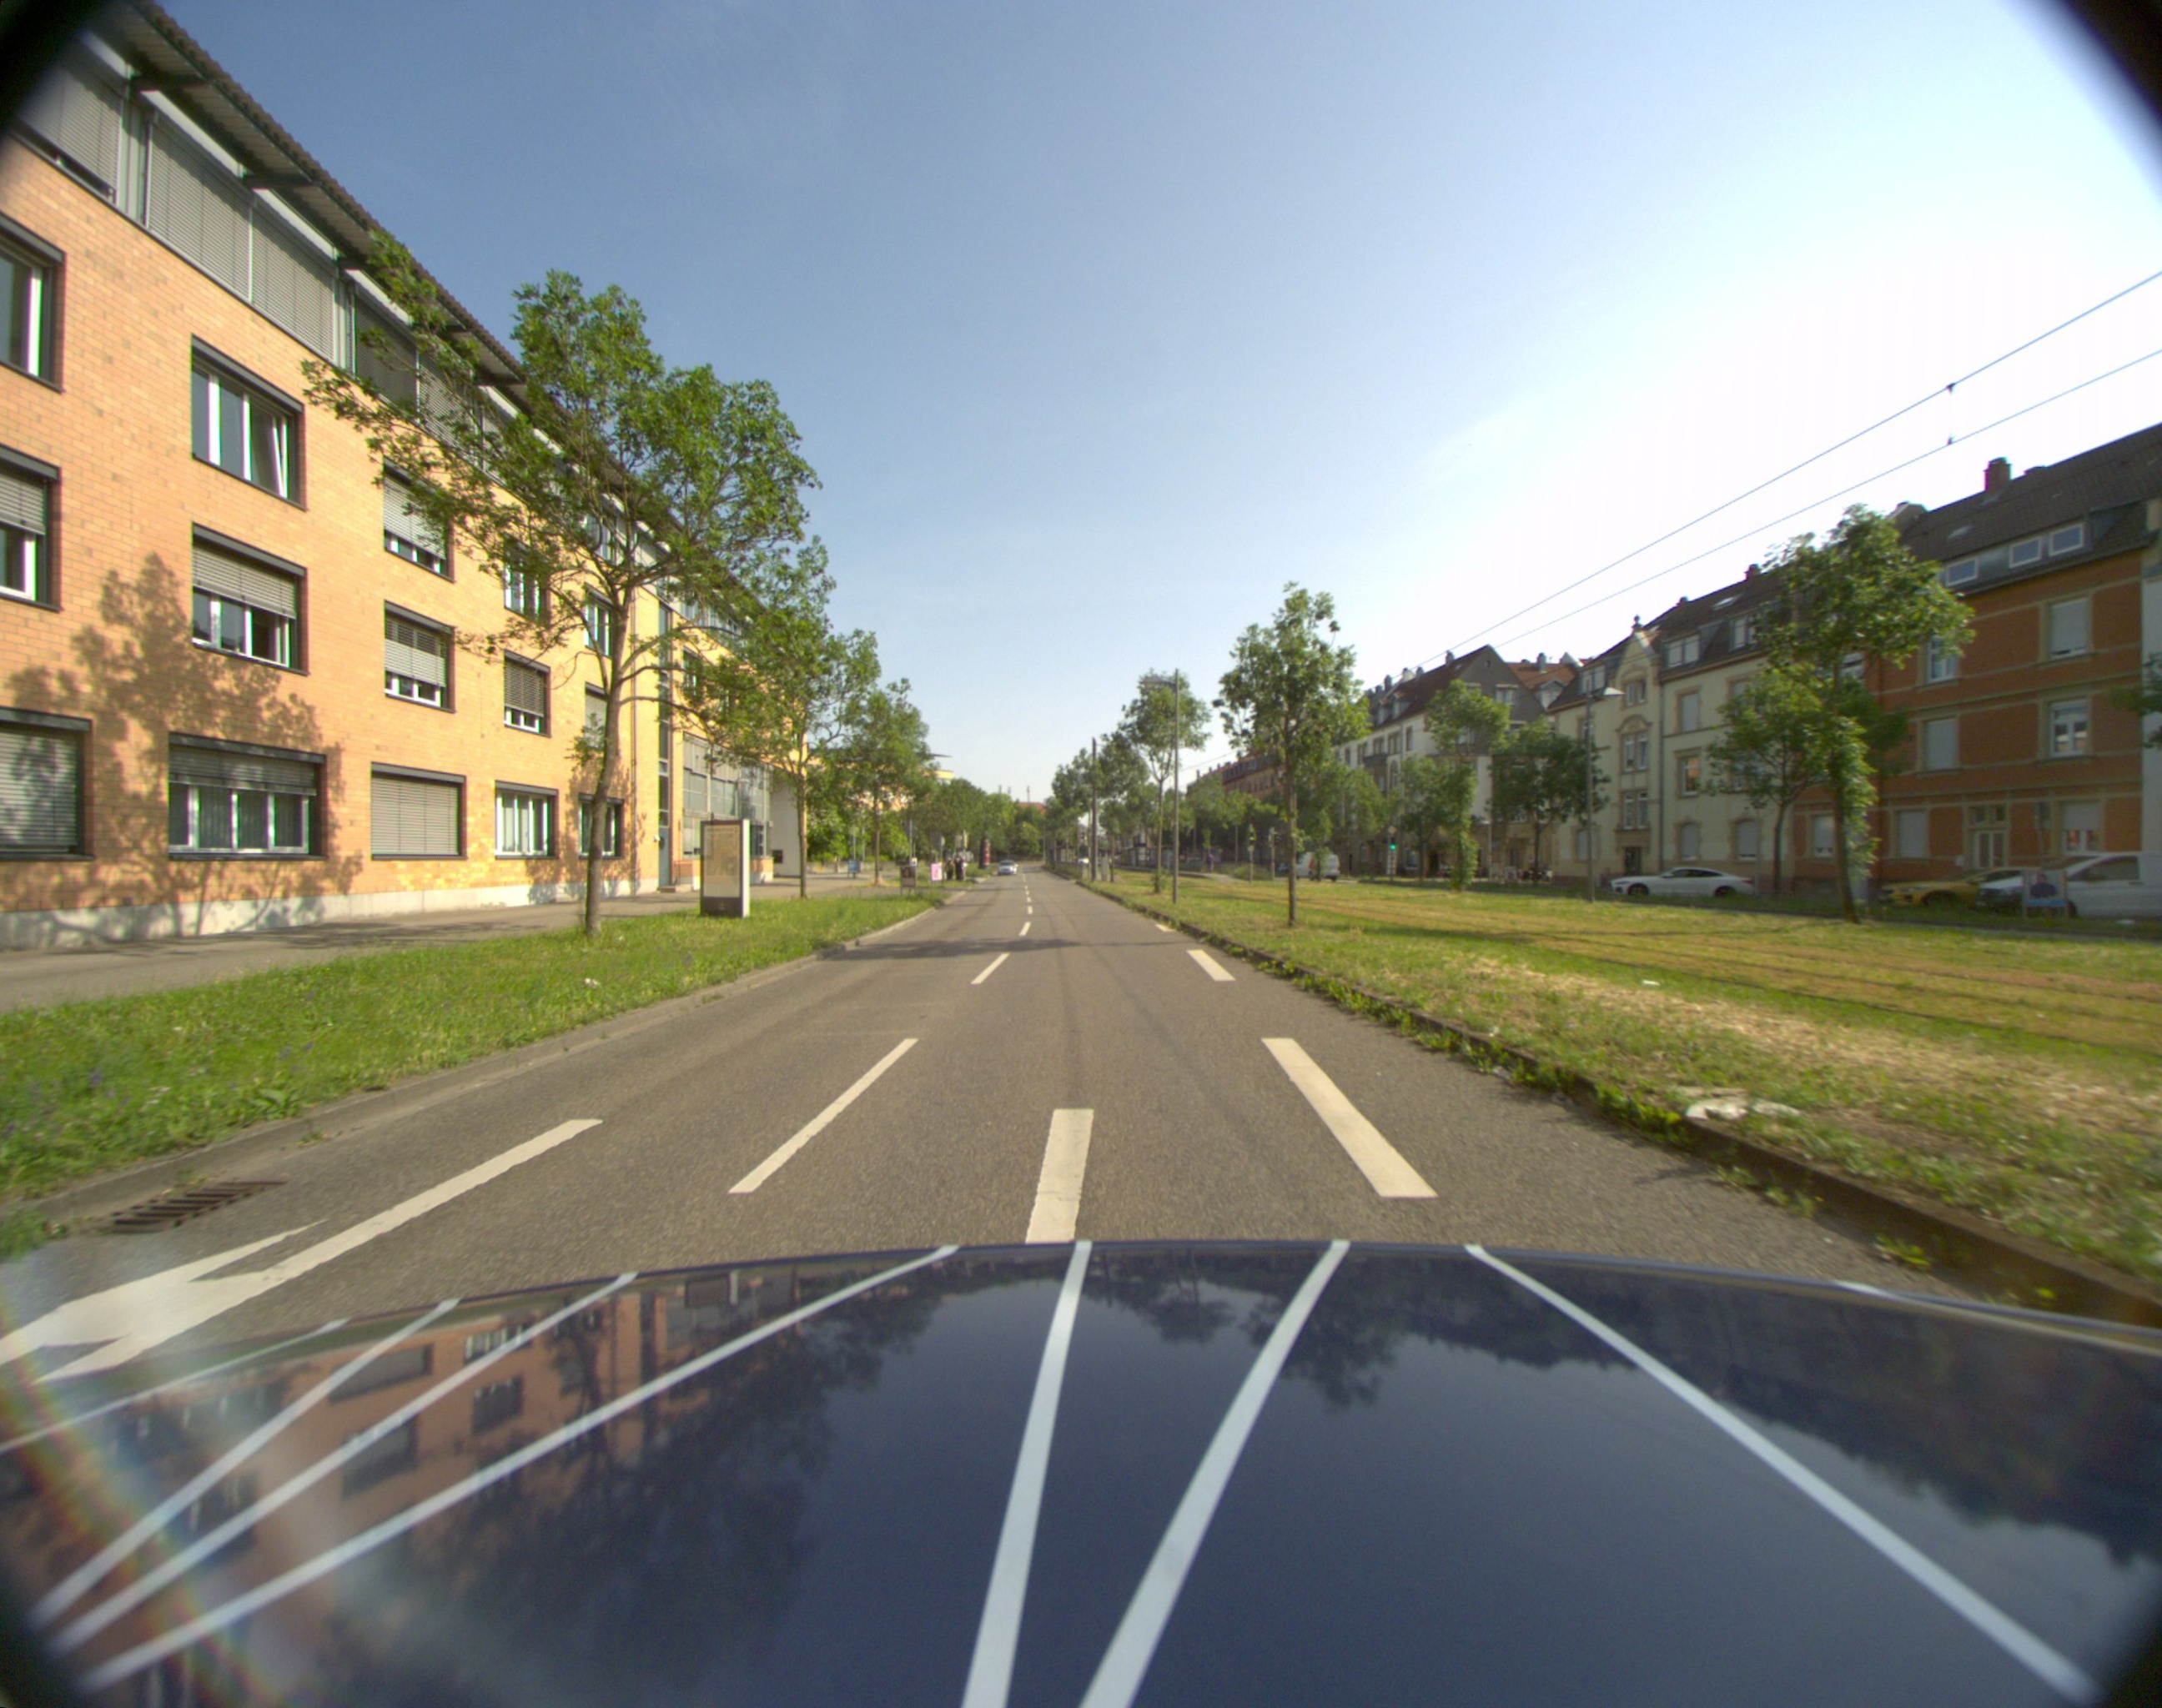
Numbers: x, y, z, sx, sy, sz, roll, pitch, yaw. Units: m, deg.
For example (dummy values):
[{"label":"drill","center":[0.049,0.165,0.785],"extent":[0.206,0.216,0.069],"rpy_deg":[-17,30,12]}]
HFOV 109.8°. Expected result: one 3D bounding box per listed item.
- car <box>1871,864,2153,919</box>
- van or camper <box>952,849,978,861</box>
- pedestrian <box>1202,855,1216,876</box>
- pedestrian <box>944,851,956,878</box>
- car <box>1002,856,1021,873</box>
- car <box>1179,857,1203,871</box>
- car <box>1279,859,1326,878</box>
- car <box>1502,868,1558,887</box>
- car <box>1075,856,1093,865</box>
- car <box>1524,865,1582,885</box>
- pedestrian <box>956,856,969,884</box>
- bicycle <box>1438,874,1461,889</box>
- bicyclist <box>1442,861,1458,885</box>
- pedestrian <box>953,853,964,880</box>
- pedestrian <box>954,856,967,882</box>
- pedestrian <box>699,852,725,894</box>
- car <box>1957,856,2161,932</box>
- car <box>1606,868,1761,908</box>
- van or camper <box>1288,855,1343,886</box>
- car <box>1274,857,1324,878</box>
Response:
[{"label":"car","center":[25.997,1.030,21.517],"extent":[4.688,1.340,1.860],"rpy_deg":[-2,1,30]},{"label":"van or camper","center":[-26.676,0.269,174.296],"extent":[5.803,2.678,2.406],"rpy_deg":[-2,1,-8]},{"label":"pedestrian","center":[10.486,0.929,62.130],"extent":[0.886,1.645,0.852],"rpy_deg":[0,1,-7]},{"label":"pedestrian","center":[-8.322,0.662,48.322],"extent":[0.707,1.637,0.689],"rpy_deg":[1,1,-7]},{"label":"car","center":[-6.641,1.012,72.383],"extent":[1.629,1.476,3.364],"rpy_deg":[-2,1,-6]},{"label":"car","center":[12.647,1.094,87.616],"extent":[1.840,1.524,4.574],"rpy_deg":[0,0,-5]},{"label":"car","center":[21.908,1.463,75.140],"extent":[3.989,1.716,2.003],"rpy_deg":[-2,1,30]},{"label":"car","center":[33.880,1.730,57.471],"extent":[1.673,1.291,3.998],"rpy_deg":[1,0,-5]},{"label":"car","center":[0.701,1.563,178.926],"extent":[4.007,2.002,1.994],"rpy_deg":[-3,1,-43]},{"label":"car","center":[35.733,1.577,57.615],"extent":[1.673,1.404,3.998],"rpy_deg":[1,0,-5]},{"label":"pedestrian","center":[-7.097,0.945,45.656],"extent":[0.707,1.637,0.689],"rpy_deg":[1,1,-7]},{"label":"bicycle","center":[24.516,1.839,50.571],"extent":[0.856,0.860,2.021],"rpy_deg":[-2,1,11]},{"label":"bicyclist","center":[24.543,1.260,50.552],"extent":[0.847,1.550,0.903],"rpy_deg":[-2,1,18]},{"label":"pedestrian","center":[-7.528,0.781,46.805],"extent":[0.636,1.637,0.608],"rpy_deg":[1,1,-8]},{"label":"pedestrian","center":[-7.554,0.943,47.661],"extent":[0.708,1.637,0.688],"rpy_deg":[1,1,-9]},{"label":"pedestrian","center":[-14.552,0.740,29.980],"extent":[0.698,1.647,0.772],"rpy_deg":[1,1,-4]},{"label":"car","center":[25.890,0.973,18.944],"extent":[4.939,1.716,1.860],"rpy_deg":[-2,1,30]},{"label":"car","center":[24.940,1.419,31.716],"extent":[4.766,1.477,2.026],"rpy_deg":[-2,1,27]},{"label":"van or camper","center":[17.306,1.154,56.276],"extent":[1.957,2.085,5.350],"rpy_deg":[-2,1,-5]},{"label":"car","center":[20.138,1.255,70.260],"extent":[3.989,1.716,2.003],"rpy_deg":[-2,1,30]}]
